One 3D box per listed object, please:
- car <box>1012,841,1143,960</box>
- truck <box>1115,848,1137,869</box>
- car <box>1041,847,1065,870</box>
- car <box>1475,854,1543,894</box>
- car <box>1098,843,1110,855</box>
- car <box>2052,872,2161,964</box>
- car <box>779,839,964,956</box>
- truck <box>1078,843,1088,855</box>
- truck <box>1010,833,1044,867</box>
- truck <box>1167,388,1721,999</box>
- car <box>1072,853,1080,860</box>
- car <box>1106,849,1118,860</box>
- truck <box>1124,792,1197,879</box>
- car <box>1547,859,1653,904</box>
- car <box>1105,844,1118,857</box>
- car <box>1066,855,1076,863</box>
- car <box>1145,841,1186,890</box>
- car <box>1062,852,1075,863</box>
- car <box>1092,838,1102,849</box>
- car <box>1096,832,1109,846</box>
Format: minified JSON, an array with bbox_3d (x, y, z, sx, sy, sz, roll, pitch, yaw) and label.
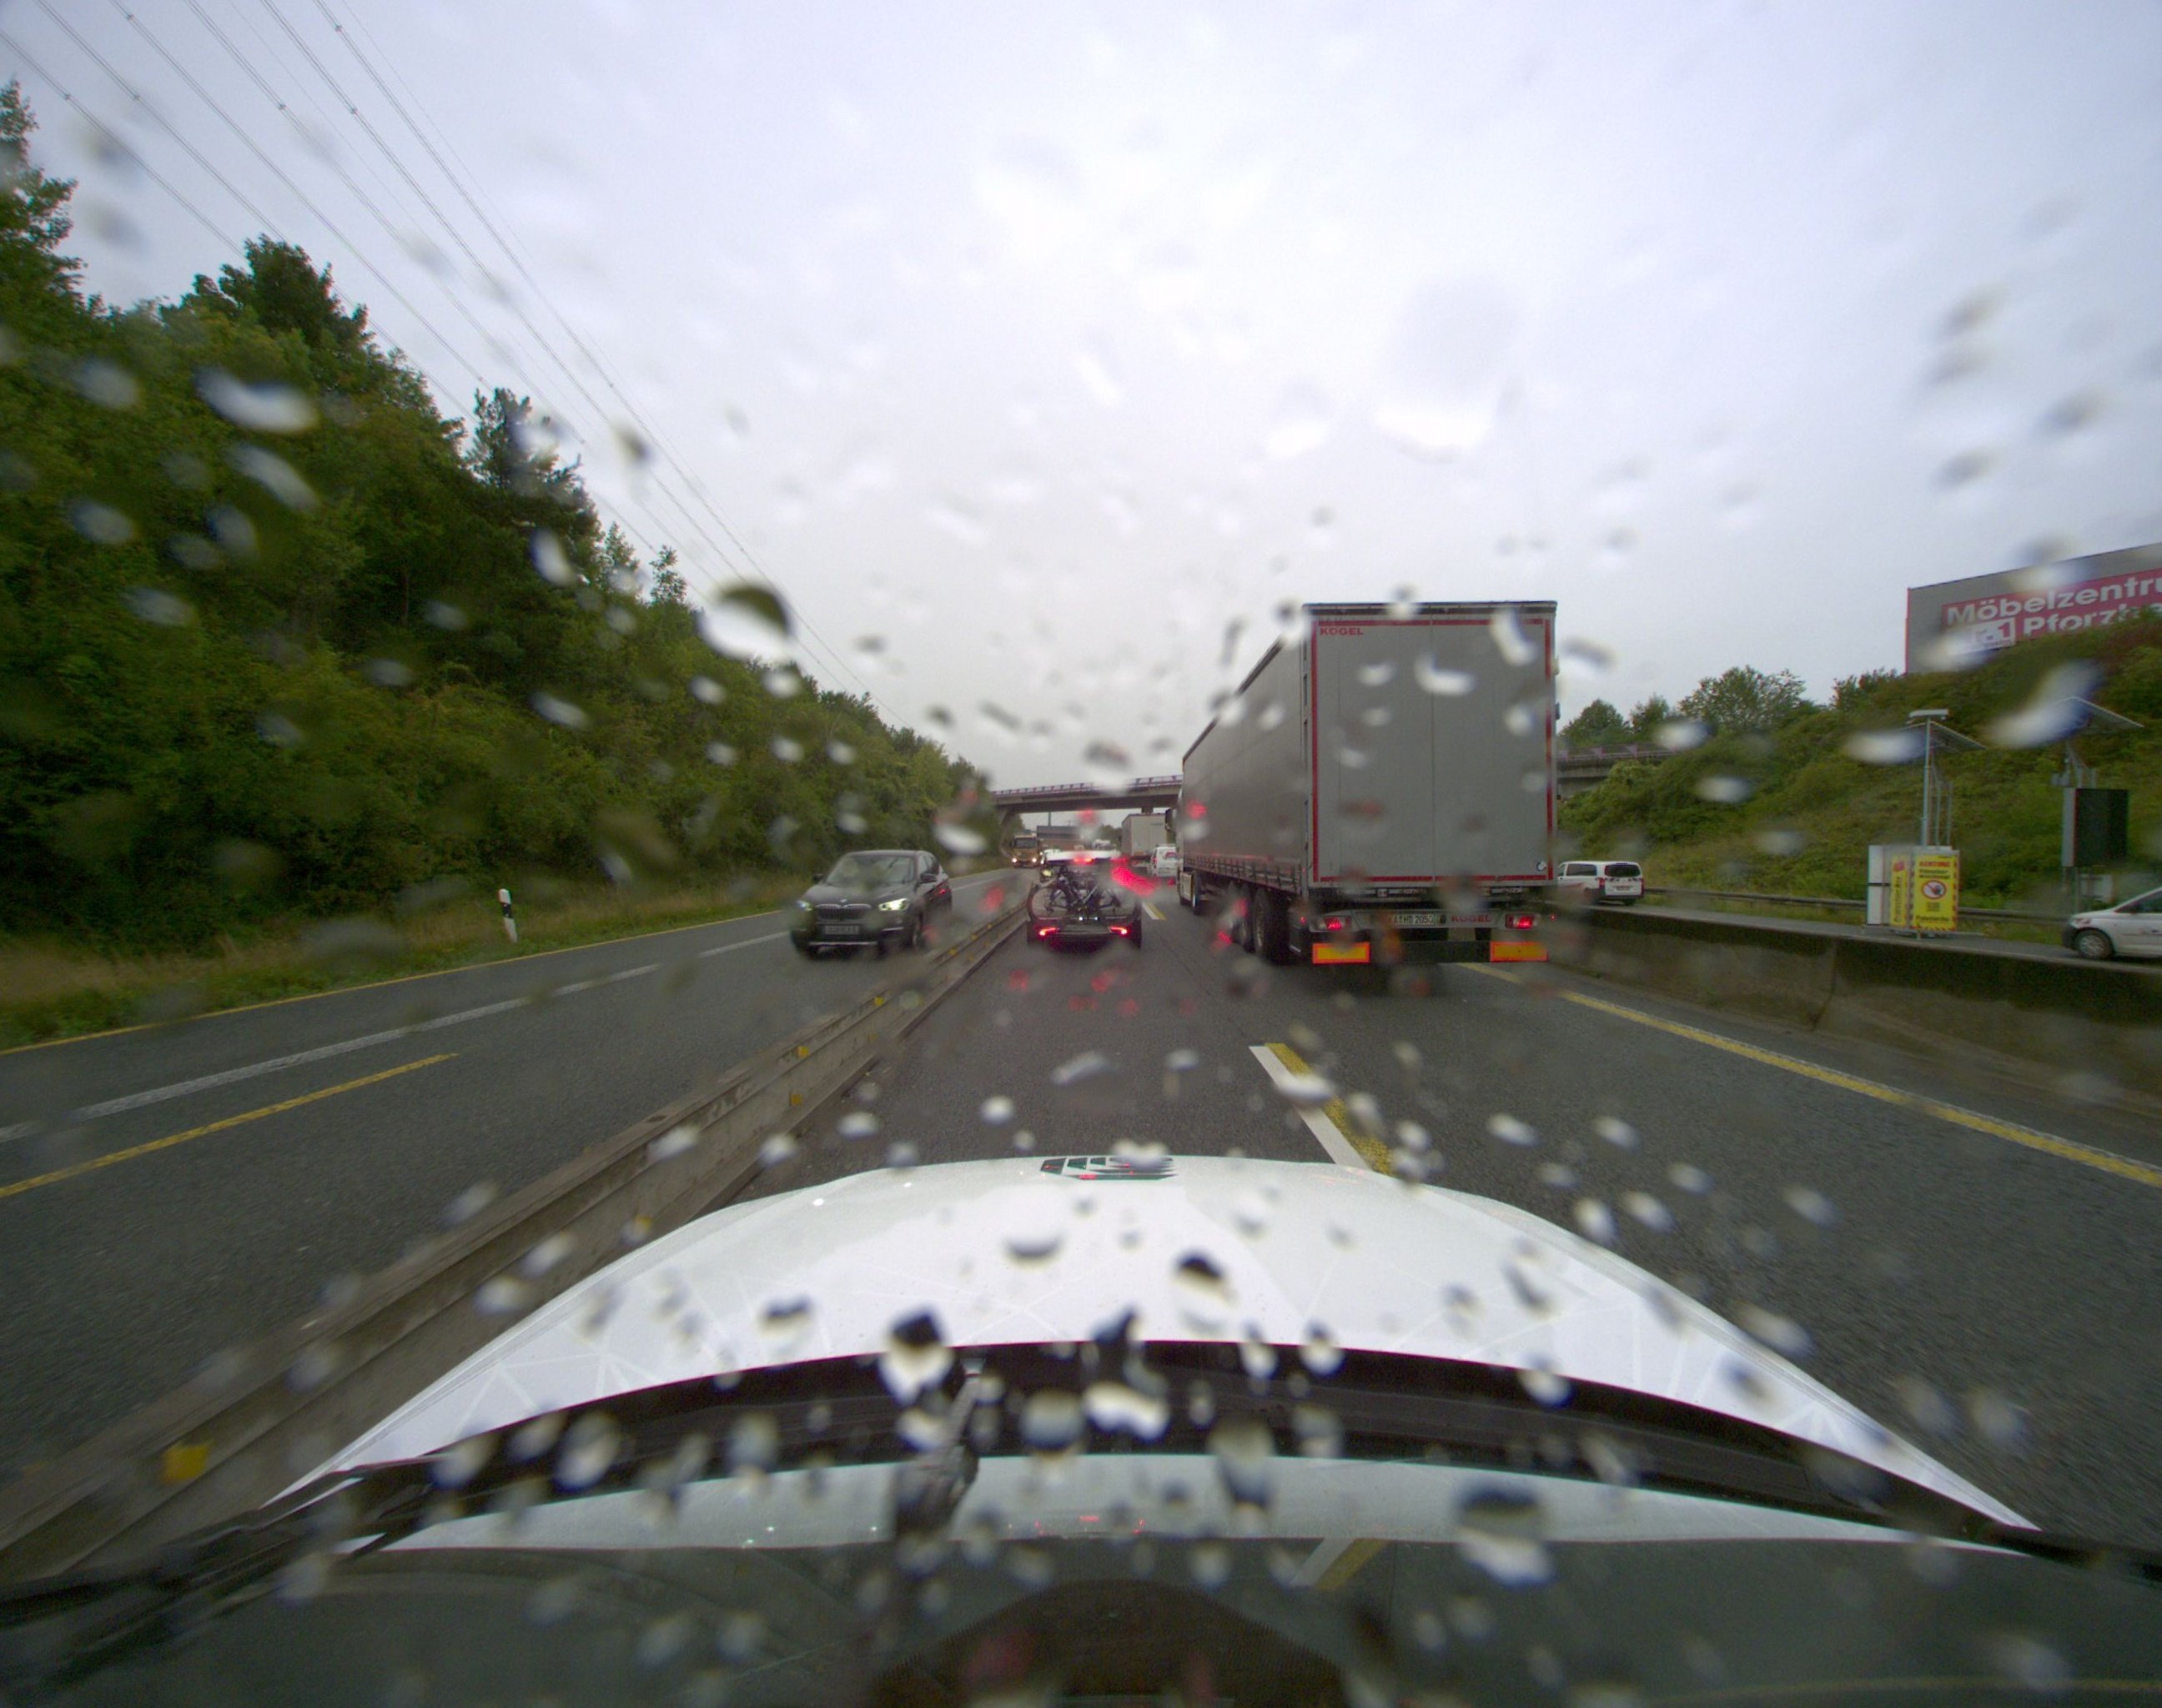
[{"bbox_3d":[0.066,0.656,13.619,1.803,1.637,4.639,-1,0,3],"label":"car"},{"bbox_3d":[4.398,0.440,79.922,1.986,2.014,4.001,-1,0,2],"label":"truck"},{"bbox_3d":[-2.289,0.407,68.031,1.804,1.824,4.635,-1,0,0],"label":"car"},{"bbox_3d":[23.010,1.050,43.983,1.721,2.058,4.128,-1,0,4],"label":"car"},{"bbox_3d":[3.994,-0.885,138.296,1.986,2.014,4.002,-1,0,2],"label":"car"},{"bbox_3d":[22.109,1.274,15.703,1.723,1.757,4.268,-1,0,1],"label":"car"},{"bbox_3d":[-3.255,0.621,13.542,1.803,1.633,4.121,-1,0,3],"label":"car"},{"bbox_3d":[0.621,-1.455,243.978,2.526,3.352,12.051,-1,0,1],"label":"truck"},{"bbox_3d":[-5.608,-0.389,86.163,2.526,3.352,12.051,-1,0,1],"label":"truck"},{"bbox_3d":[4.450,-1.449,17.822,3.963,5.673,20.391,-1,0,3],"label":"truck"},{"bbox_3d":[-0.973,0.479,161.106,1.680,1.409,3.929,-1,0,0],"label":"car"},{"bbox_3d":[4.234,0.028,112.783,1.632,1.497,3.667,-1,0,2],"label":"car"},{"bbox_3d":[5.758,-1.183,63.974,4.723,5.673,20.391,-1,0,3],"label":"truck"},{"bbox_3d":[22.754,1.147,35.964,1.934,1.829,4.732,-1,0,4],"label":"car"},{"bbox_3d":[4.728,-0.484,126.384,1.986,2.014,4.002,-1,0,2],"label":"car"},{"bbox_3d":[-1.887,0.947,151.863,1.804,1.559,3.990,-1,0,1],"label":"car"},{"bbox_3d":[3.982,0.517,38.949,1.663,2.180,4.538,-1,0,3],"label":"car"},{"bbox_3d":[-1.637,0.460,108.603,1.680,1.409,3.929,-1,0,0],"label":"car"},{"bbox_3d":[3.321,-2.211,164.874,1.986,2.126,4.528,-1,0,2],"label":"car"},{"bbox_3d":[4.005,-2.762,151.090,2.231,2.307,4.574,-1,0,2],"label":"car"}]
